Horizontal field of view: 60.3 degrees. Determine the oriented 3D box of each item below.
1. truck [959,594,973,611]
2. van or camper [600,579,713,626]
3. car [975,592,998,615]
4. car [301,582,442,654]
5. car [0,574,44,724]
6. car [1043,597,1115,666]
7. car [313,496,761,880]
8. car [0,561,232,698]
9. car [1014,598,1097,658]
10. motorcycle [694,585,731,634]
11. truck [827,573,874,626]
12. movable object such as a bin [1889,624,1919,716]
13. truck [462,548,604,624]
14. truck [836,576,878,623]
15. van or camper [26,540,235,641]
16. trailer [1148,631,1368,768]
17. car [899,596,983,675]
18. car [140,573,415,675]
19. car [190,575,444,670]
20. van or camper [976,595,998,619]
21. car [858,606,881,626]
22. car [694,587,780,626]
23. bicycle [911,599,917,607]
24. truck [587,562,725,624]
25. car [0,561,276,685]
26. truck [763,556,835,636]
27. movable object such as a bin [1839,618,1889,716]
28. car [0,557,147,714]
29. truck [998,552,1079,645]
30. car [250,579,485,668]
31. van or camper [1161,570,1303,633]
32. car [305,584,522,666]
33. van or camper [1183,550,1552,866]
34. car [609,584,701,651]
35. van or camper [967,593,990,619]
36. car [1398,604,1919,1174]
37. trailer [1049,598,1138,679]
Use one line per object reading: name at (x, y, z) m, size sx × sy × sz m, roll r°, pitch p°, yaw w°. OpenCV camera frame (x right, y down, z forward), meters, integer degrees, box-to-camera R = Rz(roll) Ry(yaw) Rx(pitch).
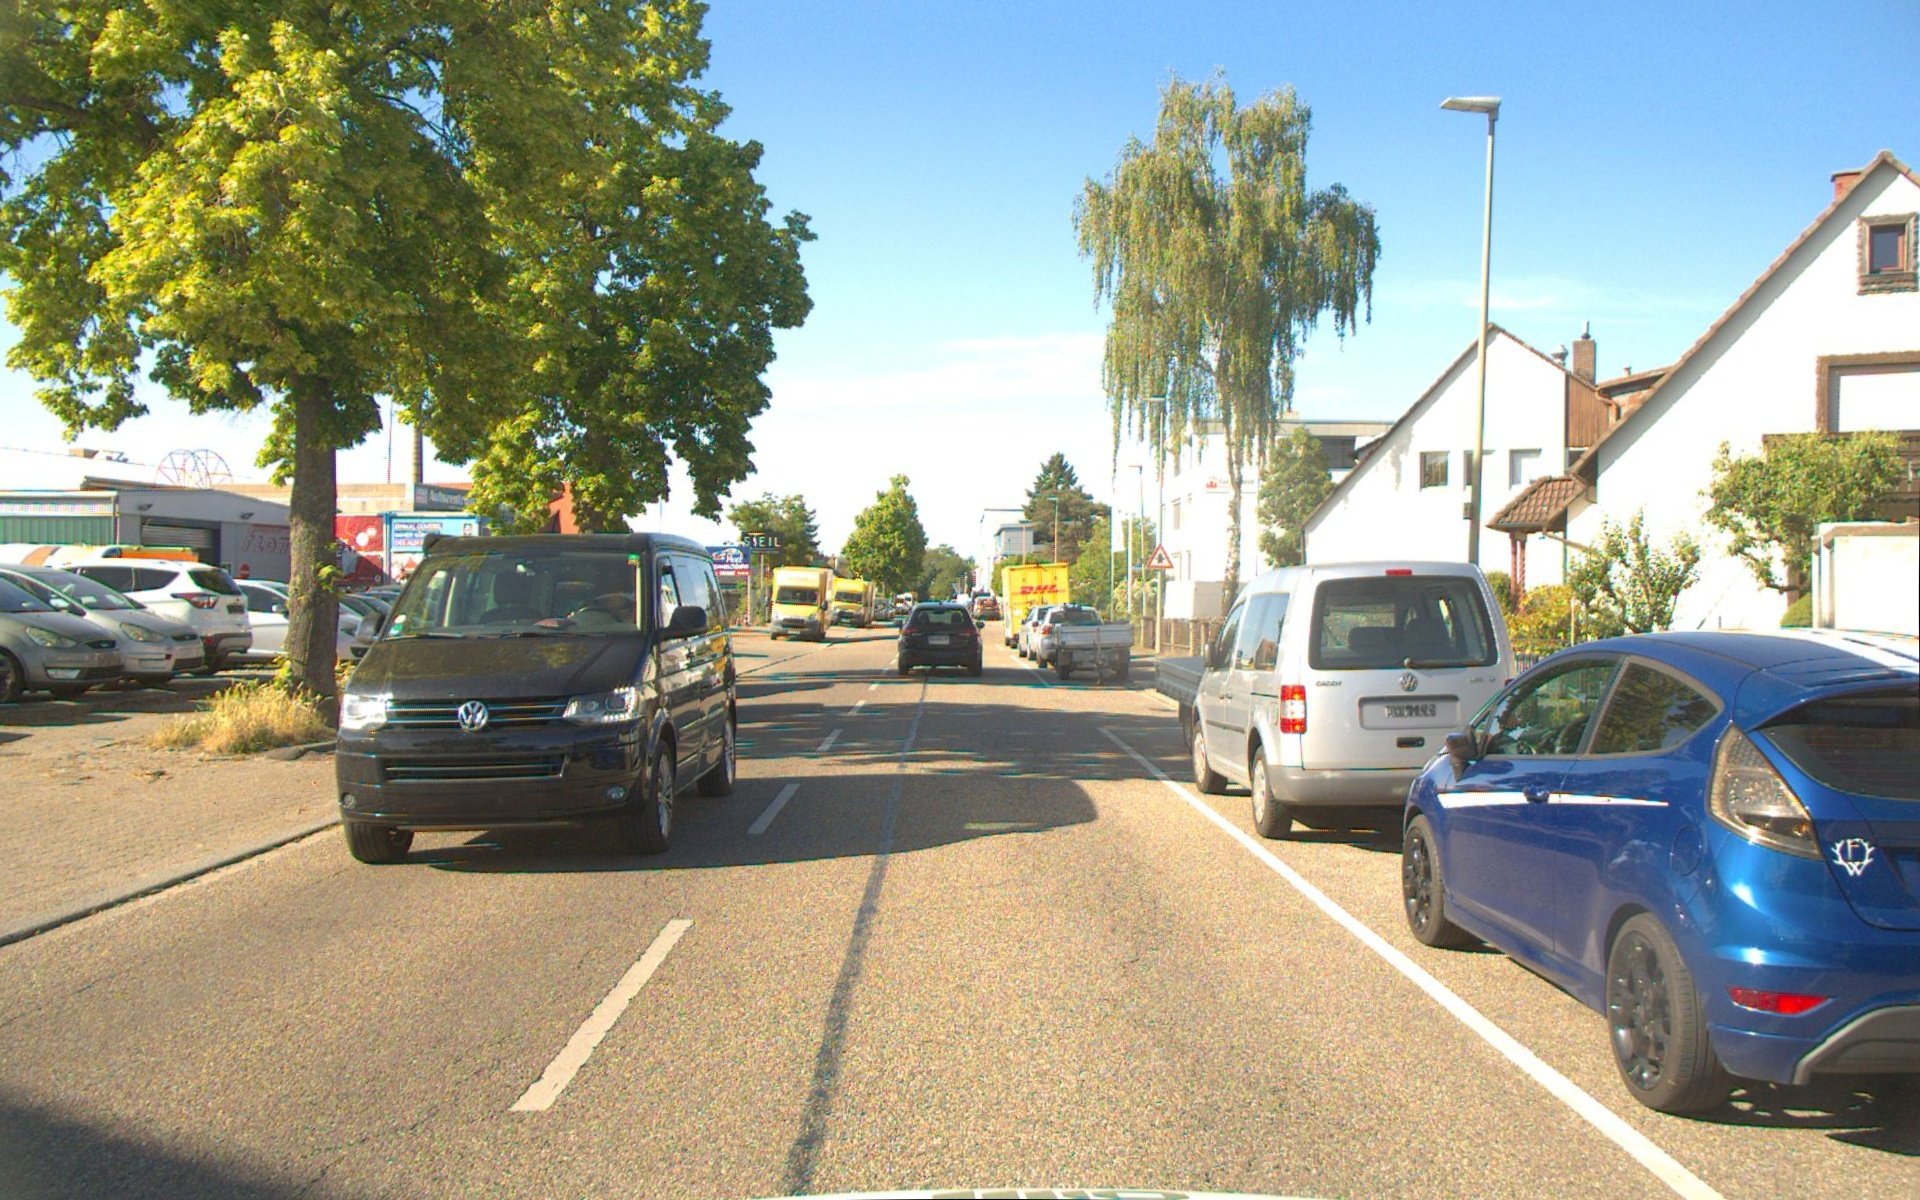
truck at (0.868, 0.364, 243.362) m, size 1.953 × 2.328 × 6.954 m, roll 1°, pitch 0°, yaw 0°
van or camper at (-13.439, 0.103, 73.391) m, size 4.447 × 2.049 × 2.252 m, roll 0°, pitch 0°, yaw 6°
car at (2.208, 0.280, 138.651) m, size 1.880 × 1.857 × 4.079 m, roll 1°, pitch 0°, yaw 0°
car at (-15.903, 0.445, 44.902) m, size 1.738 × 1.779 × 4.168 m, roll 0°, pitch 1°, yaw 10°
car at (-12.413, 0.492, 17.715) m, size 4.163 × 1.613 × 1.765 m, roll 1°, pitch 0°, yaw -2°
car at (2.846, 0.721, 40.167) m, size 1.639 × 1.569 × 4.044 m, roll 1°, pitch 0°, yaw 3°
car at (-2.618, 0.480, 11.508) m, size 1.855 × 2.067 × 4.817 m, roll -1°, pitch 0°, yaw 0°
car at (-12.251, 0.376, 22.244) m, size 4.159 × 1.759 × 1.767 m, roll 0°, pitch 0°, yaw 5°
car at (2.596, 0.732, 45.807) m, size 1.748 × 1.569 × 4.534 m, roll 1°, pitch 0°, yaw -4°
motorcycle at (-10.152, 0.368, 67.837) m, size 0.765 × 1.905 × 3.042 m, roll 3°, pitch 1°, yaw 4°
truck at (-6.562, -0.034, 99.663) m, size 2.354 × 3.035 × 6.373 m, roll 2°, pitch 0°, yaw 0°
movable object such as a bin at (11.099, 0.806, 19.232) m, size 0.493 × 1.044 × 0.458 m, roll 0°, pitch 0°, yaw 27°
truck at (-19.138, -0.642, 74.287) m, size 5.547 × 3.174 × 2.525 m, roll 2°, pitch 0°, yaw 11°
truck at (-6.734, -0.042, 108.961) m, size 2.148 × 2.952 × 6.439 m, roll 2°, pitch 0°, yaw 1°
van or camper at (-24.147, -0.265, 48.519) m, size 2.118 × 2.763 × 6.275 m, roll 1°, pitch 0°, yaw 10°
trailer at (3.042, 0.983, 17.450) m, size 1.595 × 1.238 × 3.143 m, roll 1°, pitch 0°, yaw -3°
car at (-0.367, 0.703, 34.860) m, size 1.676 × 1.559 × 3.687 m, roll 0°, pitch 0°, yaw 0°
car at (-12.111, 0.414, 29.514) m, size 4.161 × 1.759 × 1.766 m, roll 0°, pitch 0°, yaw 1°
car at (-12.246, 0.409, 31.640) m, size 4.159 × 1.759 × 1.767 m, roll 0°, pitch 0°, yaw 5°
van or camper at (2.344, 0.625, 144.050) m, size 1.880 × 2.055 × 4.079 m, roll 1°, pitch 0°, yaw 0°
car at (-7.035, 1.228, 128.722) m, size 1.721 × 1.428 × 4.555 m, roll 0°, pitch 0°, yaw -2°
car at (-11.797, 0.332, 87.566) m, size 4.157 × 2.049 × 1.870 m, roll 0°, pitch 0°, yaw 8°
bicycle at (-6.860, 0.387, 246.334) m, size 0.812 × 1.173 × 2.939 m, roll 0°, pitch 0°, yaw -2°
truck at (-14.039, -0.332, 76.462) m, size 5.795 × 2.612 × 2.225 m, roll 2°, pitch 0°, yaw 11°
car at (-12.637, 0.326, 24.646) m, size 4.159 × 1.759 × 1.767 m, roll 0°, pitch 0°, yaw 5°
truck at (-6.550, -0.149, 68.132) m, size 2.354 × 3.035 × 7.243 m, roll 2°, pitch 0°, yaw -2°
movable object such as a bin at (10.635, 0.779, 19.465) m, size 0.493 × 1.115 × 0.458 m, roll 0°, pitch 0°, yaw 27°
car at (-12.251, 0.398, 19.814) m, size 4.160 × 1.783 × 1.766 m, roll 0°, pitch 0°, yaw 3°
truck at (2.671, -0.045, 58.225) m, size 2.354 × 2.988 × 7.015 m, roll -2°, pitch 0°, yaw -1°
car at (-12.103, 0.462, 33.905) m, size 4.159 × 1.759 × 1.767 m, roll 0°, pitch 0°, yaw 5°
van or camper at (11.574, 0.083, 70.356) m, size 5.741 × 2.586 × 2.271 m, roll 0°, pitch 0°, yaw -26°
car at (-11.997, 0.532, 36.450) m, size 4.159 × 1.759 × 1.767 m, roll 0°, pitch 0°, yaw 5°
van or camper at (2.803, 0.664, 12.310) m, size 1.683 × 1.924 × 4.179 m, roll 1°, pitch 0°, yaw 0°
car at (-8.708, 0.475, 47.516) m, size 1.824 × 1.744 × 4.275 m, roll 3°, pitch 0°, yaw -1°
van or camper at (1.678, 0.531, 148.841) m, size 1.953 × 2.351 × 4.000 m, roll 1°, pitch 0°, yaw 0°
car at (2.992, 0.799, 6.281) m, size 1.683 × 1.531 × 3.563 m, roll 1°, pitch 0°, yaw 0°
trailer at (2.708, 0.760, 34.180) m, size 1.594 × 1.565 × 3.198 m, roll 1°, pitch 0°, yaw 0°
